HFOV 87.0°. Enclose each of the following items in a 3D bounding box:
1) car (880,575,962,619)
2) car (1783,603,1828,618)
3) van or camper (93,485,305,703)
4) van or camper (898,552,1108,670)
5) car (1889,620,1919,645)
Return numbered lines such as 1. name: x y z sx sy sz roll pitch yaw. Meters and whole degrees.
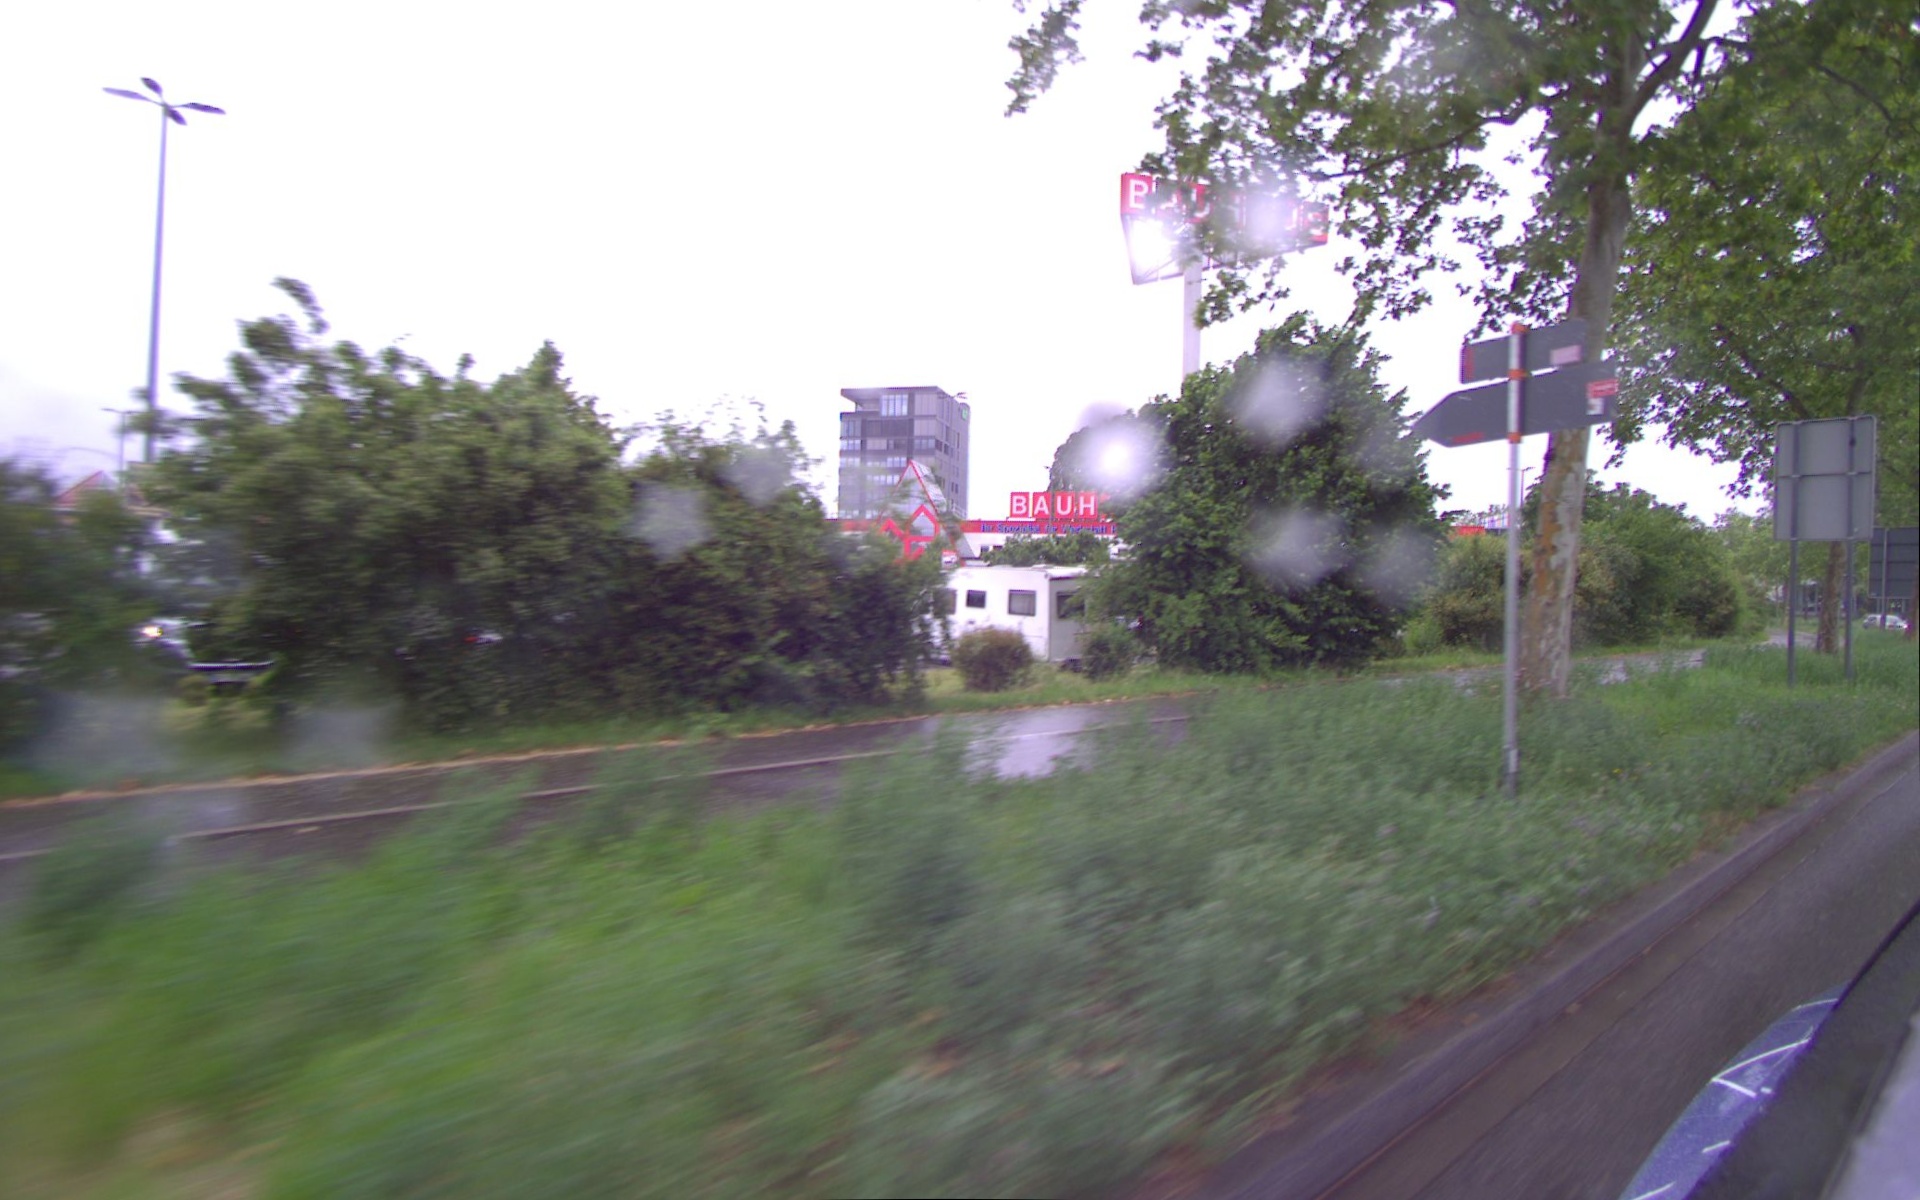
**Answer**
1. car: -2.147 -0.160 59.349 2.552 2.386 7.533 1 0 16
2. car: 102.571 1.267 122.777 3.923 1.681 1.865 -1 0 -1
3. van or camper: -11.459 -0.113 15.006 1.966 2.576 6.371 0 1 -42
4. van or camper: 0.927 0.266 25.761 1.963 2.621 5.736 5 -3 -38
5. car: 69.000 2.335 73.247 1.987 1.672 3.950 1 0 35
